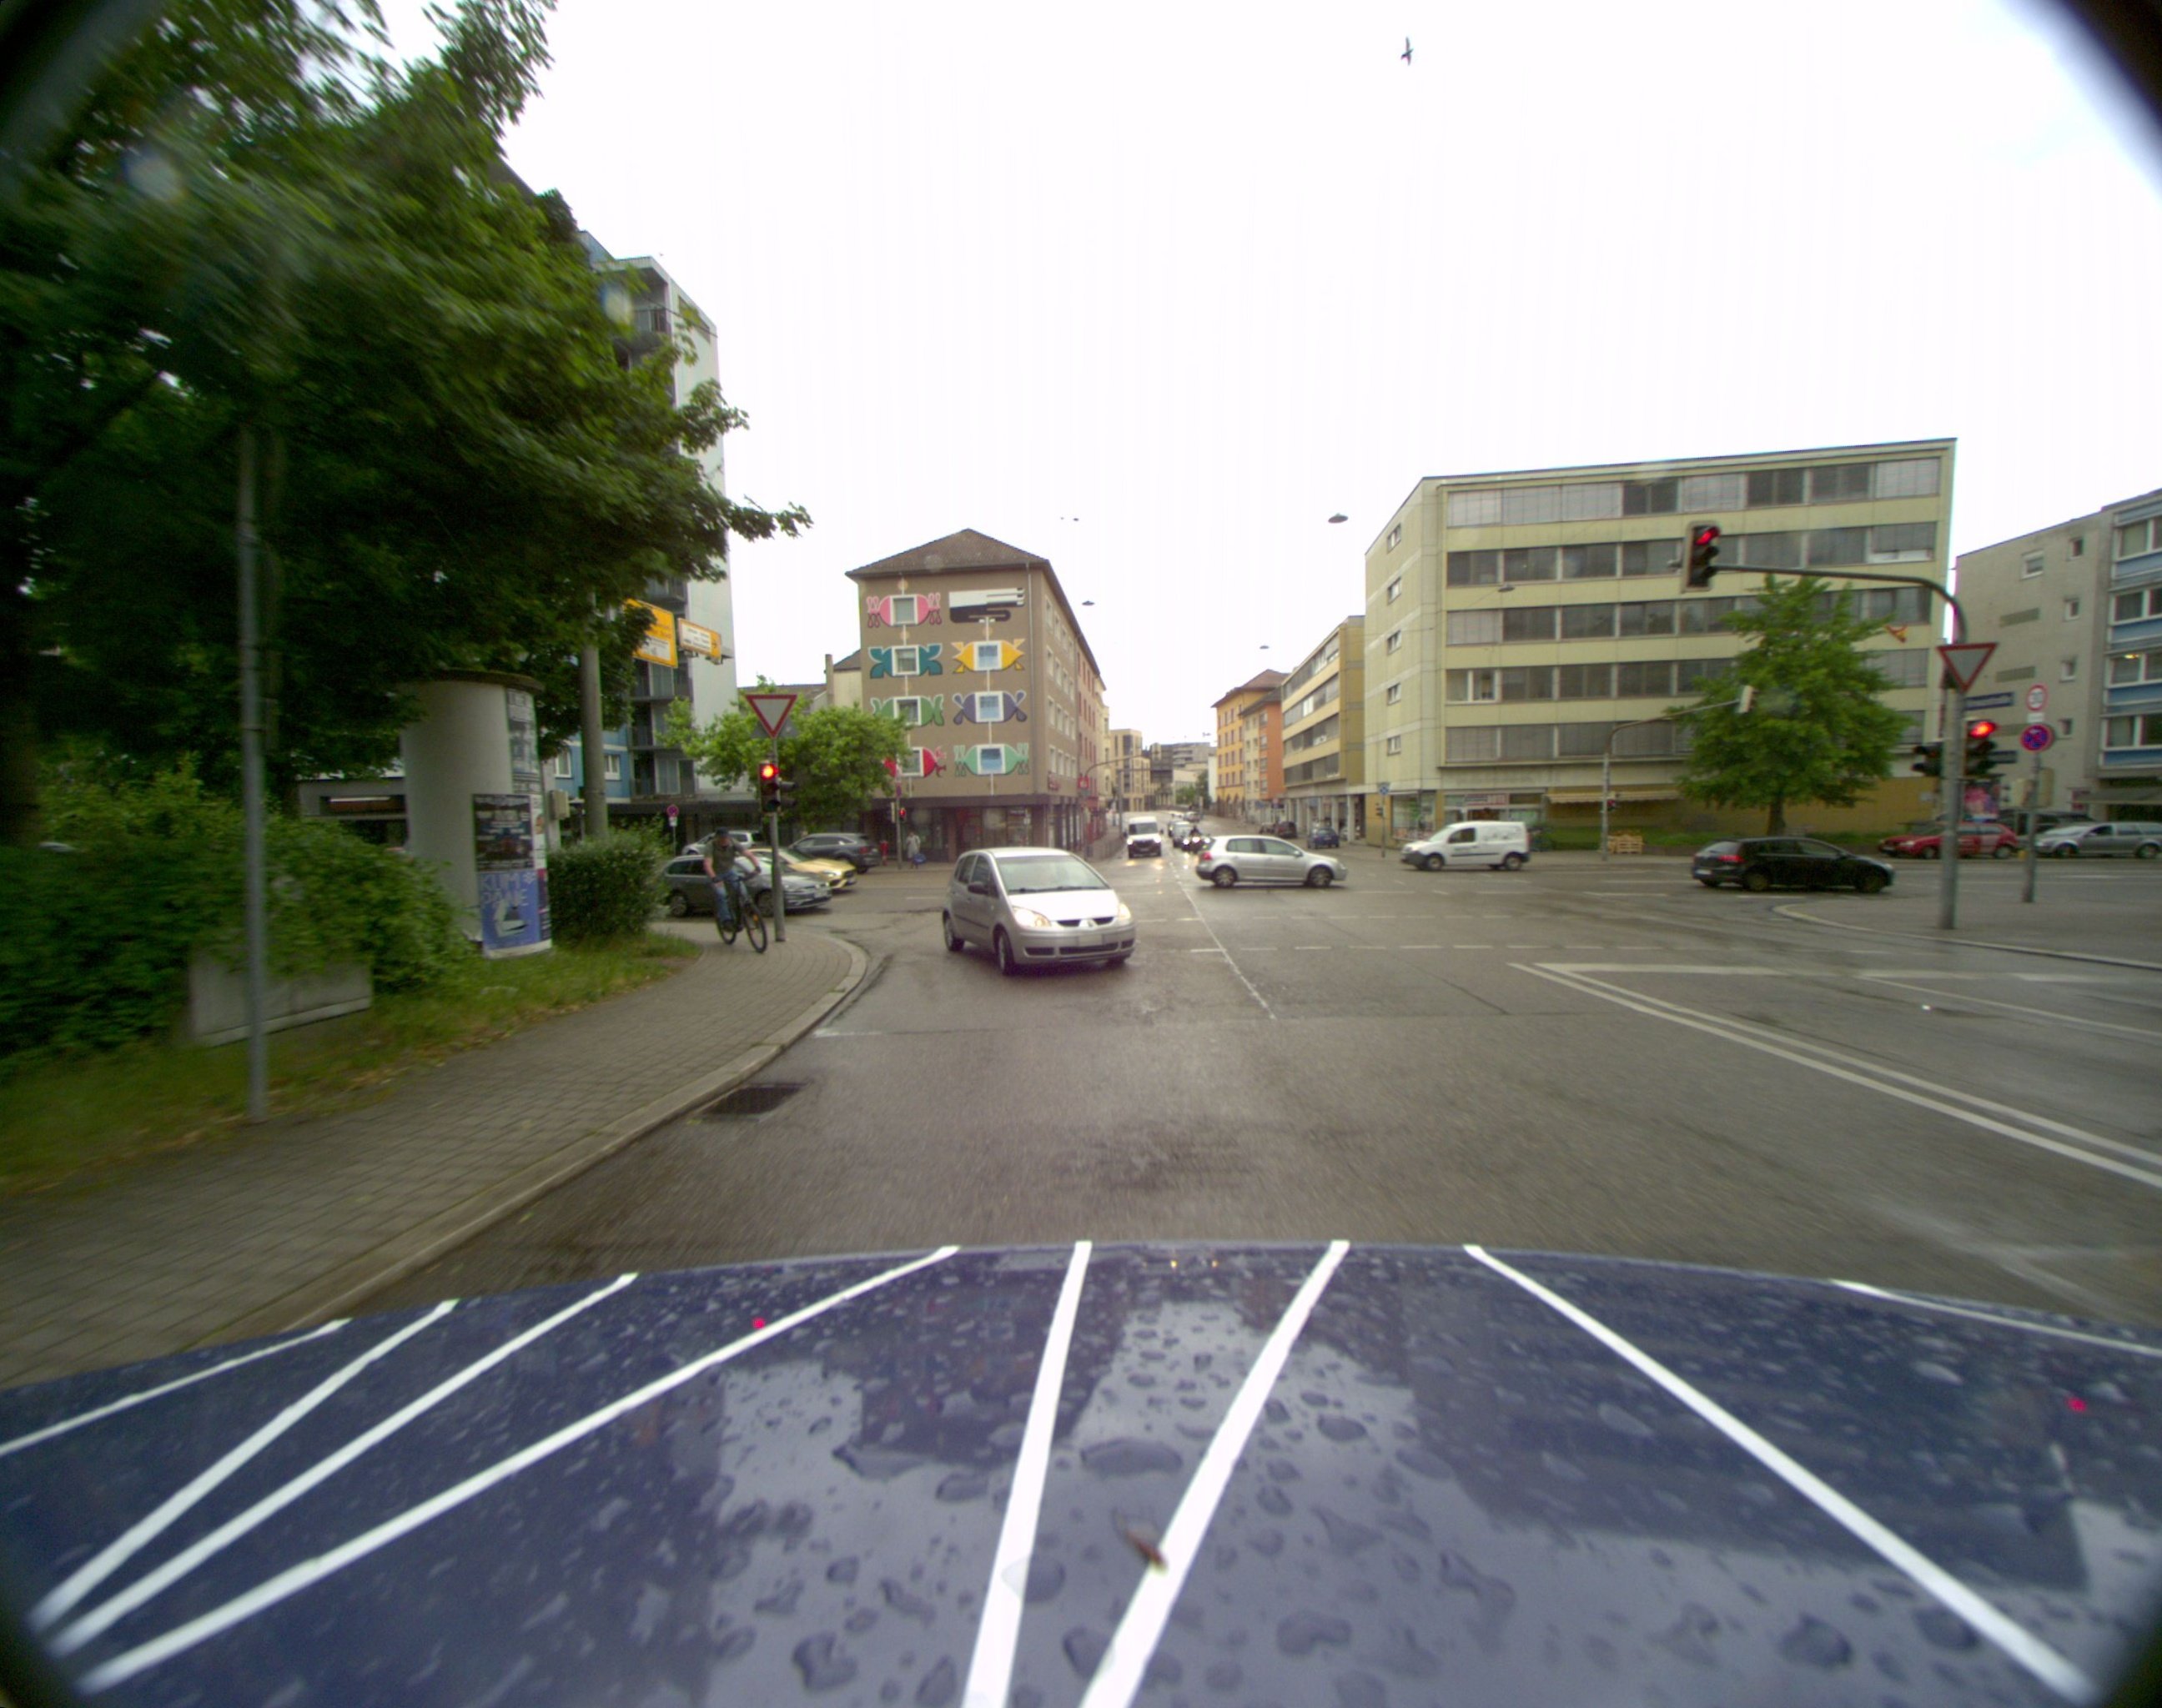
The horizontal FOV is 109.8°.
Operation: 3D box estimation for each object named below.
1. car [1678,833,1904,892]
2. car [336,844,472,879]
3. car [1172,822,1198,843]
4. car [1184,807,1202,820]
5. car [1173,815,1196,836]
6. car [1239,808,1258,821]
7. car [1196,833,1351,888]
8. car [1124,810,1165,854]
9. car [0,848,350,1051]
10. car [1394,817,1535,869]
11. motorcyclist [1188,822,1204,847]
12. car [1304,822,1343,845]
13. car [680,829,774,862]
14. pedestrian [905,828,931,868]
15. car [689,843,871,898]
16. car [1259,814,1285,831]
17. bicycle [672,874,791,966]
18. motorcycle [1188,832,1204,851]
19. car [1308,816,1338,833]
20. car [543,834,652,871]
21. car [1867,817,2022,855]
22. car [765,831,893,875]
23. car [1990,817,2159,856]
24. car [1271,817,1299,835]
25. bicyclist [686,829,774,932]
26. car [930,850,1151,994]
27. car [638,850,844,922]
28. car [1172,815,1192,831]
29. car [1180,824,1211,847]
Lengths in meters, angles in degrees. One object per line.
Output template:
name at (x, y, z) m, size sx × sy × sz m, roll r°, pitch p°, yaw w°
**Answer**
car at (18.686, 0.188, 20.162) m, size 4.162 × 1.417 × 1.688 m, roll 1°, pitch 2°, yaw 5°
car at (-29.744, 0.326, 33.464) m, size 4.578 × 1.415 × 1.707 m, roll -1°, pitch 2°, yaw 4°
car at (7.934, -1.659, 58.304) m, size 1.848 × 1.411 × 3.569 m, roll -4°, pitch 2°, yaw 7°
car at (16.286, -5.929, 110.689) m, size 1.849 × 1.700 × 4.365 m, roll -2°, pitch 5°, yaw 0°
car at (9.137, -2.538, 67.396) m, size 1.848 × 1.705 × 3.569 m, roll -4°, pitch 2°, yaw 7°
car at (21.217, -4.991, 96.459) m, size 1.848 × 1.558 × 4.369 m, roll -4°, pitch 2°, yaw 7°
car at (5.341, 0.158, 21.460) m, size 4.031 × 1.417 × 1.687 m, roll -1°, pitch 4°, yaw 6°
car at (4.070, -1.401, 47.639) m, size 2.230 × 2.510 × 5.471 m, roll -3°, pitch 2°, yaw 7°
car at (-9.621, 0.815, 6.983) m, size 4.208 × 1.612 × 1.637 m, roll -2°, pitch 0°, yaw 1°
car at (14.098, -0.419, 28.179) m, size 4.225 × 1.845 × 1.992 m, roll -1°, pitch 2°, yaw 8°
motorcyclist at (6.899, -1.188, 45.668) m, size 0.878 × 1.471 × 0.796 m, roll -1°, pitch 3°, yaw 6°
car at (16.882, -1.449, 53.042) m, size 1.848 × 1.411 × 3.569 m, roll -4°, pitch 2°, yaw 7°
car at (-18.798, -0.472, 40.457) m, size 4.181 × 1.657 × 1.650 m, roll 0°, pitch 5°, yaw 5°
pedestrian at (-7.362, -0.269, 34.312) m, size 0.902 × 1.764 × 0.818 m, roll 0°, pitch 3°, yaw 5°
car at (-8.855, 0.456, 22.631) m, size 4.576 × 1.434 × 1.991 m, roll -1°, pitch 4°, yaw 5°
car at (19.165, -3.169, 76.319) m, size 1.848 × 1.558 × 4.369 m, roll -4°, pitch 2°, yaw 7°
bicycle at (-5.357, 0.948, 11.581) m, size 2.127 × 1.180 × 0.890 m, roll 2°, pitch 1°, yaw 43°
motorcycle at (6.903, -0.778, 45.665) m, size 0.878 × 1.093 × 1.800 m, roll -1°, pitch 2°, yaw 6°
car at (23.826, -2.908, 74.907) m, size 1.848 × 1.558 × 4.369 m, roll -4°, pitch 2°, yaw 6°
car at (-23.042, -0.099, 36.281) m, size 4.181 × 1.657 × 1.650 m, roll 0°, pitch 5°, yaw 5°
car at (35.120, -0.741, 31.024) m, size 3.885 × 1.420 × 1.725 m, roll 0°, pitch 5°, yaw 11°
car at (-10.332, -0.066, 31.350) m, size 4.564 × 1.693 × 1.992 m, roll 0°, pitch 2°, yaw 9°
car at (39.580, -0.703, 30.384) m, size 3.885 × 1.420 × 1.725 m, roll 0°, pitch 5°, yaw 11°
car at (18.827, -2.598, 70.373) m, size 1.848 × 1.558 × 4.369 m, roll -4°, pitch 2°, yaw 7°
bicyclist at (-5.344, 0.378, 11.577) m, size 0.965 × 1.481 × 0.890 m, roll 2°, pitch 1°, yaw 43°
car at (-0.762, 0.745, 10.503) m, size 1.689 × 1.496 × 3.830 m, roll -4°, pitch 2°, yaw -24°
car at (-8.313, 0.749, 18.672) m, size 4.493 × 1.497 × 1.688 m, roll -1°, pitch 5°, yaw 17°
car at (10.150, -3.106, 76.168) m, size 1.848 × 1.411 × 3.569 m, roll -4°, pitch 2°, yaw 7°
car at (7.697, -1.267, 51.153) m, size 1.848 × 1.411 × 3.569 m, roll -4°, pitch 2°, yaw 7°
